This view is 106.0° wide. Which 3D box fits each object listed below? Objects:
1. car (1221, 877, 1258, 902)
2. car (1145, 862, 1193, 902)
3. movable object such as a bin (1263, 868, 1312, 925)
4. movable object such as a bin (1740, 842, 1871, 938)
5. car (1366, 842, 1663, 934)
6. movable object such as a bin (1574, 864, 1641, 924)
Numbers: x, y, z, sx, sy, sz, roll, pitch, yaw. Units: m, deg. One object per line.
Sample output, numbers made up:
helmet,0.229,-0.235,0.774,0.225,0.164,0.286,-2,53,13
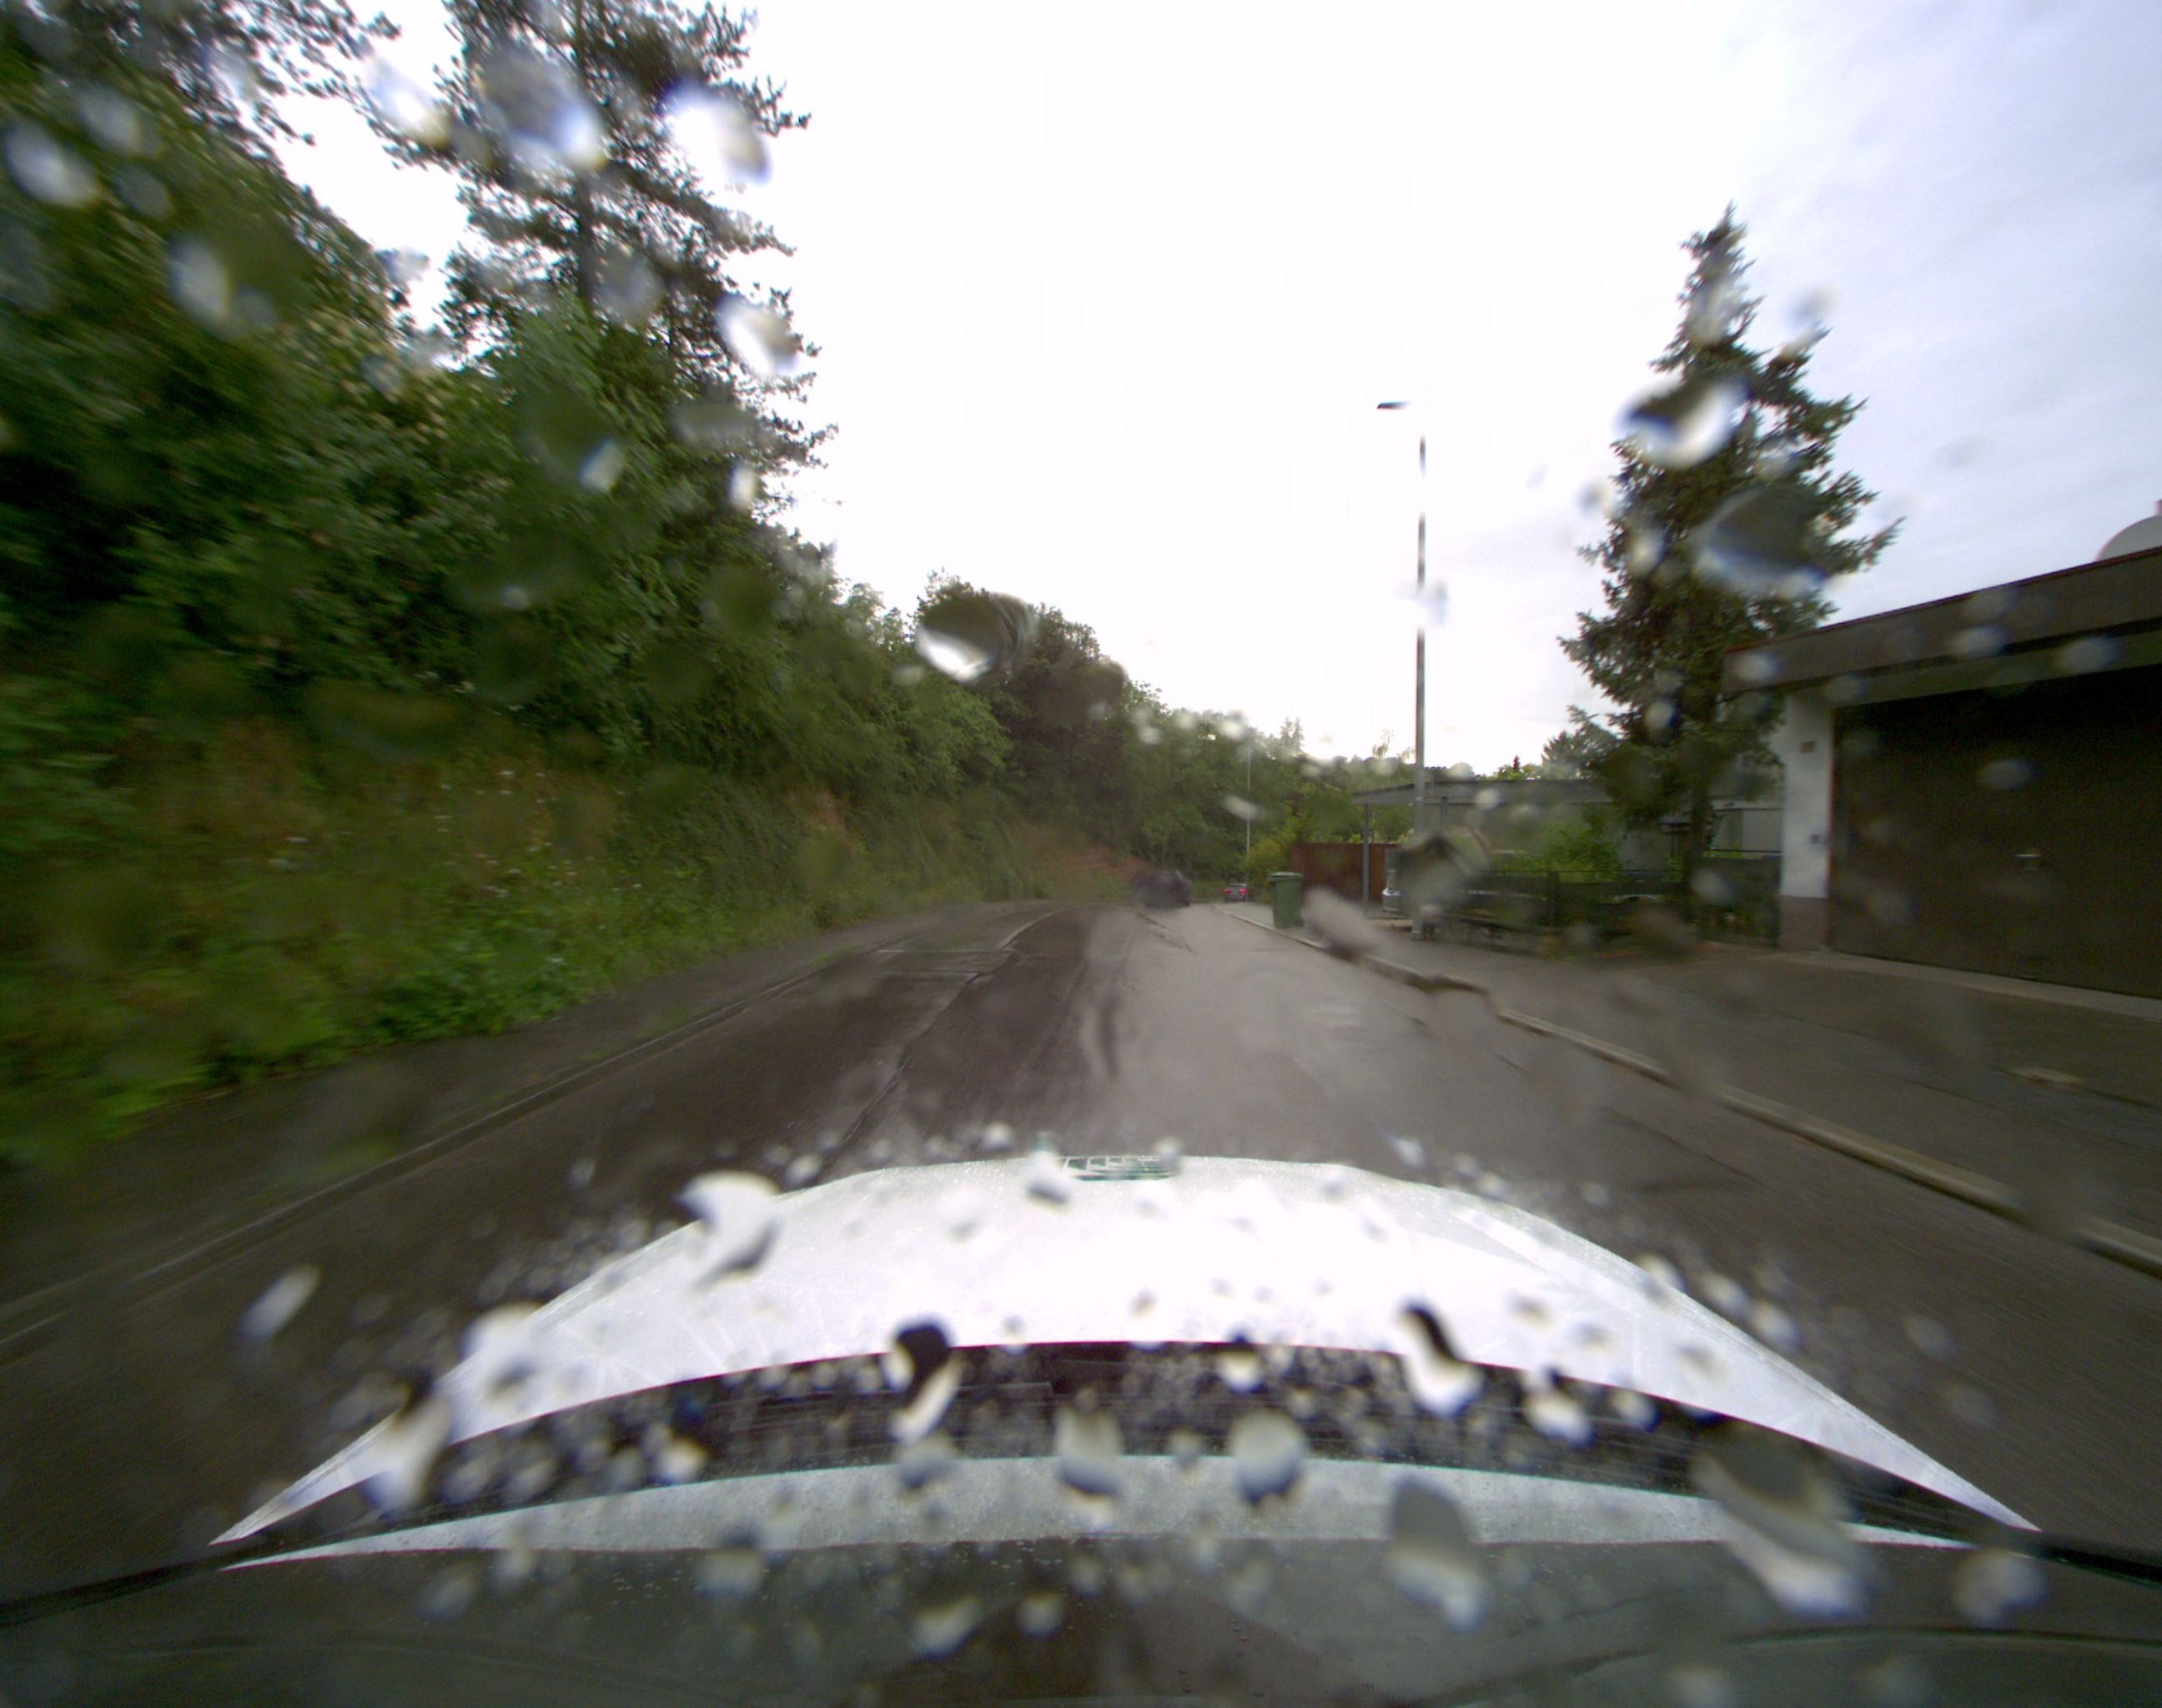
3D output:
car,12.206,2.694,62.522,1.976,1.605,4.433,1,1,21
car,3.693,1.182,33.843,1.858,1.512,4.100,1,-2,7
movable object such as a bin,4.237,0.872,16.760,0.786,1.096,0.675,-4,-1,1
movable object such as a bin,8.523,0.403,9.618,0.792,1.040,0.778,3,1,-4
car,7.300,0.553,14.161,4.189,1.415,1.947,1,-1,11
movable object such as a bin,9.750,0.738,15.107,0.945,1.057,0.575,-1,2,20
